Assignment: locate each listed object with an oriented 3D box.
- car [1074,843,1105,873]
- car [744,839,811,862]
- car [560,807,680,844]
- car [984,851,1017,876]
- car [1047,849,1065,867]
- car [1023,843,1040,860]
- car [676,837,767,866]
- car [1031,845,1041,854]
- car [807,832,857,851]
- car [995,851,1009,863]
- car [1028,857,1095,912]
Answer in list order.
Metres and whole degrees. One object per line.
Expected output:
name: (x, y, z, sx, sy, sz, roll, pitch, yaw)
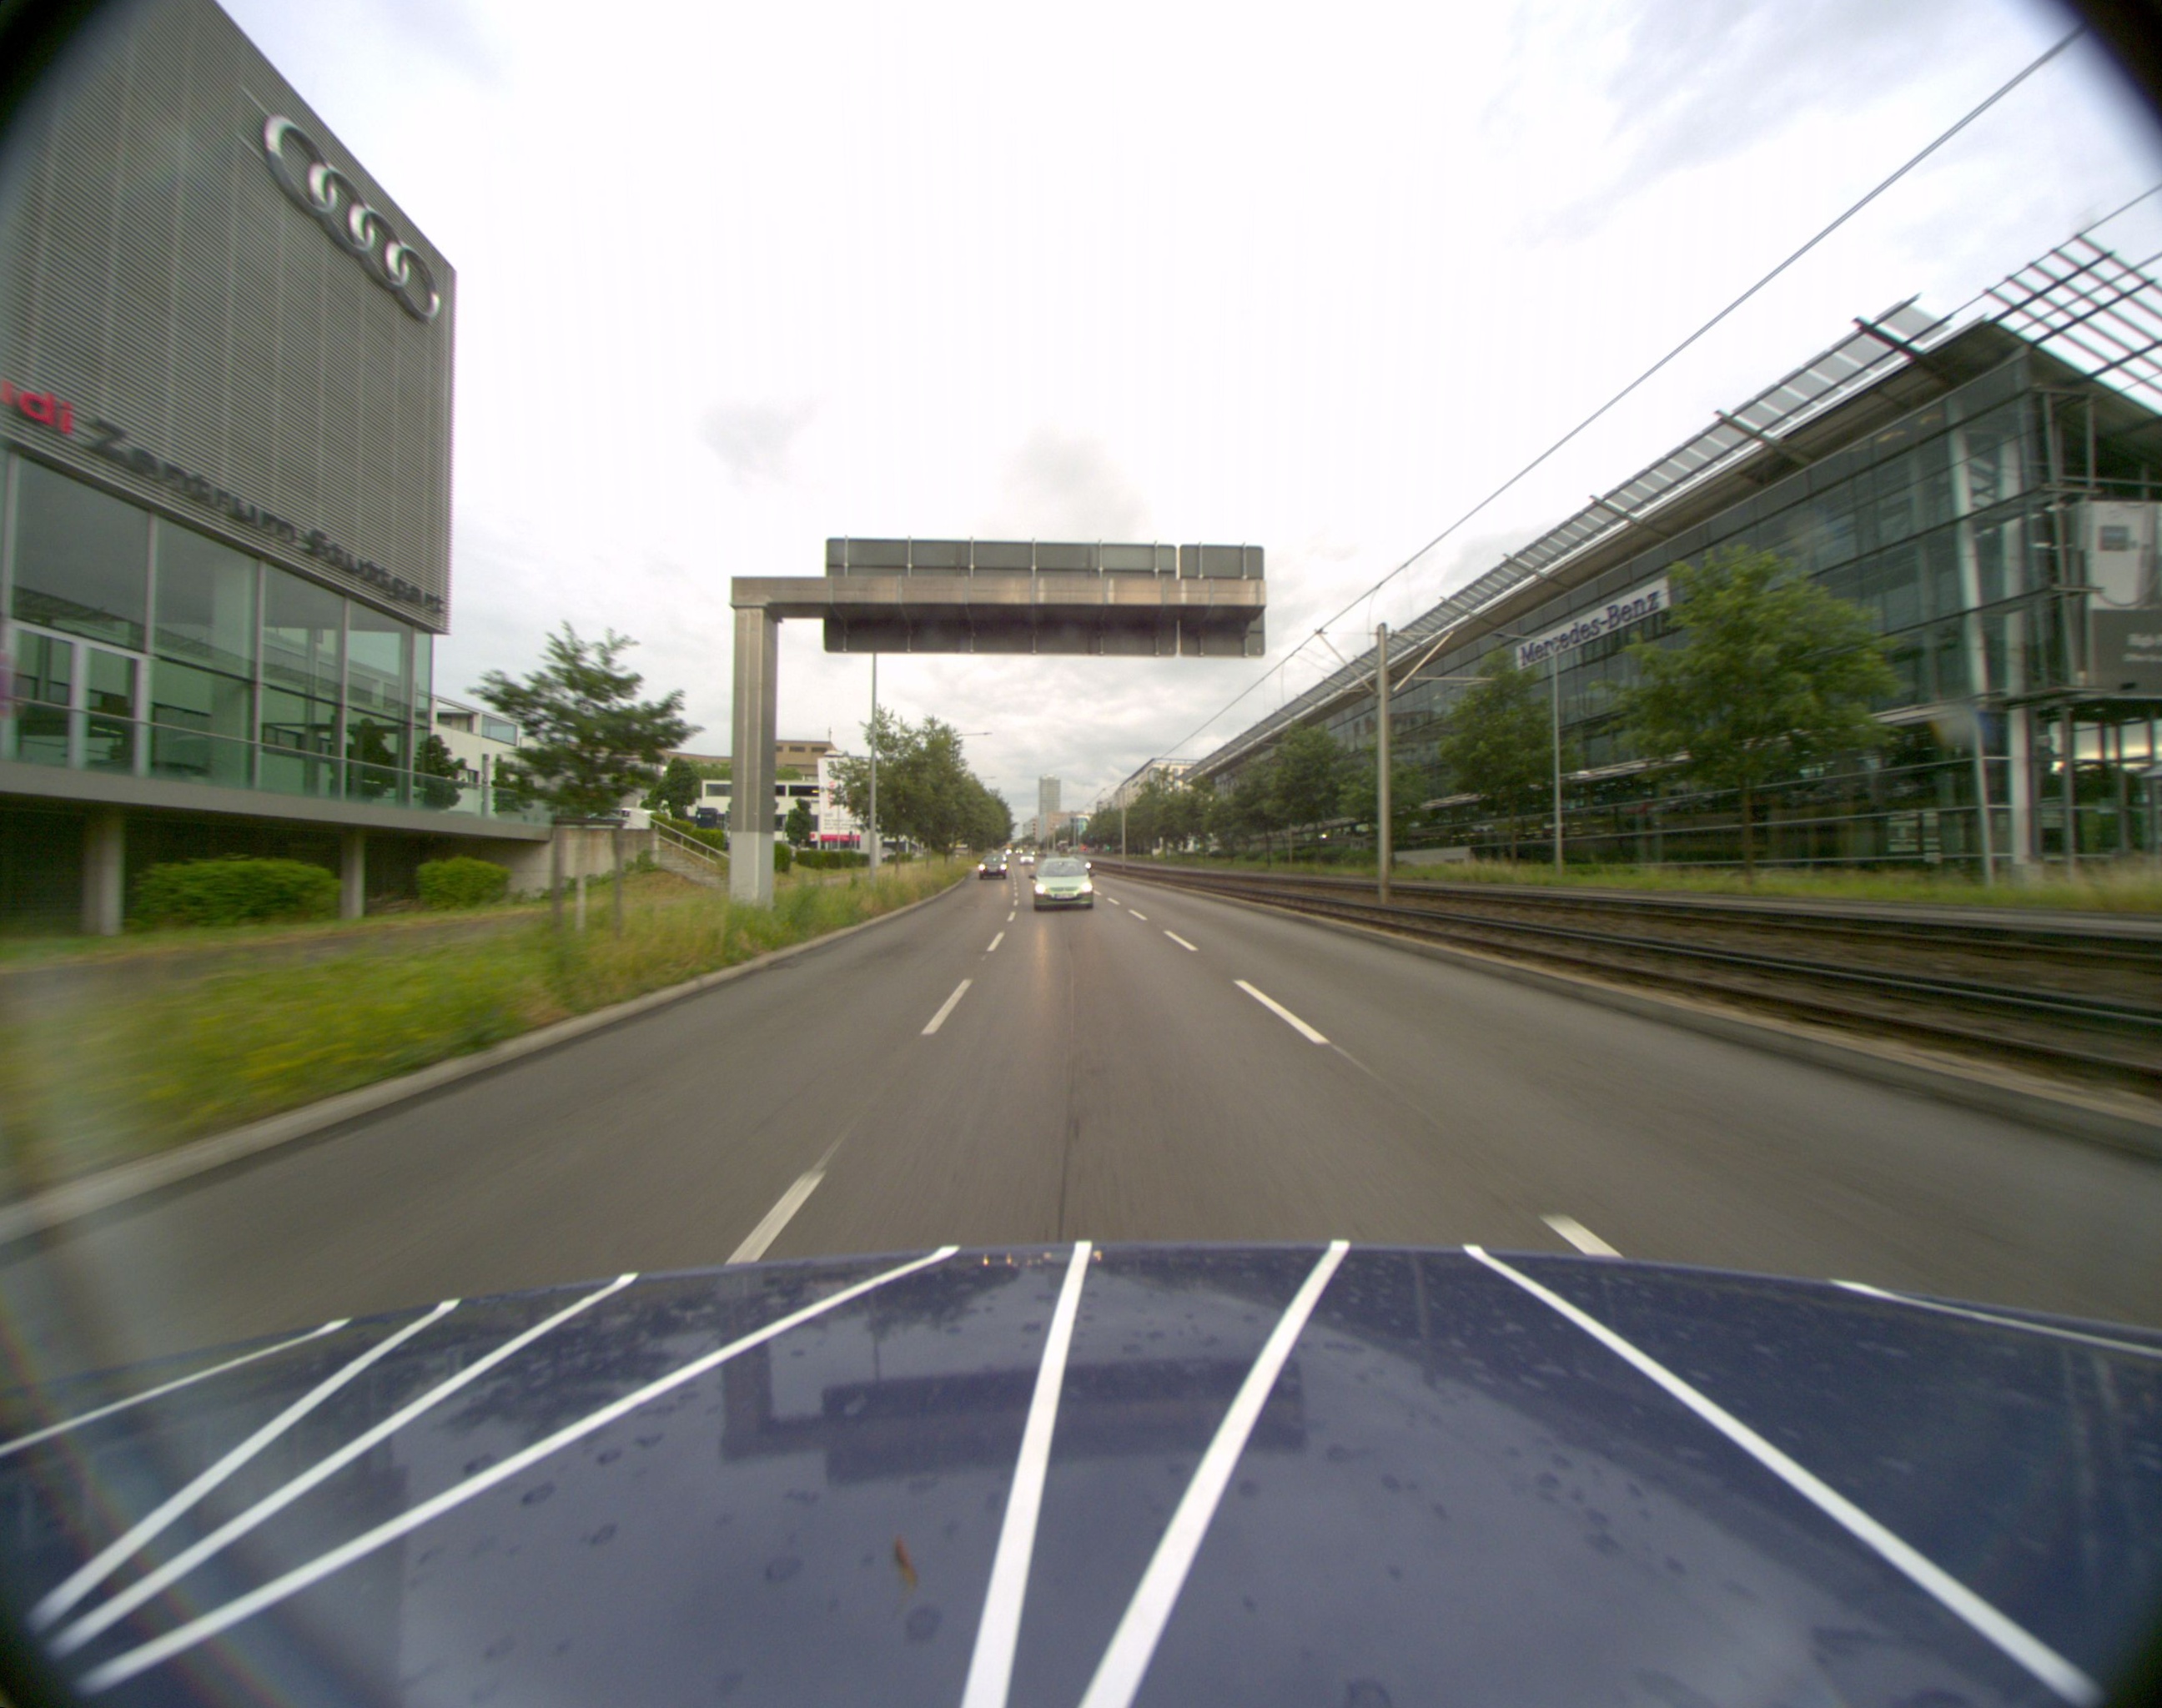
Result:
car: (0.605, 0.288, 55.853, 1.999, 2.002, 3.998, -2, 2, -3)
car: (-21.772, -0.247, 54.543, 4.118, 1.599, 1.691, -1, 0, -6)
car: (-20.691, -1.273, 34.224, 4.272, 1.565, 1.691, -1, 1, -6)
car: (-5.444, 0.662, 51.576, 1.829, 1.599, 4.114, -1, -1, -1)
car: (-2.651, 0.439, 79.530, 1.861, 1.799, 4.113, -1, -1, -3)
car: (-6.234, -0.362, 96.928, 1.999, 2.002, 3.998, -2, 2, -2)
car: (-21.036, -0.145, 44.591, 4.434, 1.565, 1.691, -1, 1, -6)
car: (-10.254, -1.095, 172.660, 1.999, 2.002, 3.997, -2, 2, -4)
car: (-22.849, -1.155, 69.871, 4.120, 1.585, 1.945, -1, 2, -14)
car: (-12.284, 0.489, 118.205, 1.861, 1.799, 4.113, -1, -1, -3)
car: (-0.610, 0.857, 23.273, 1.829, 1.499, 4.113, -1, 0, -2)
